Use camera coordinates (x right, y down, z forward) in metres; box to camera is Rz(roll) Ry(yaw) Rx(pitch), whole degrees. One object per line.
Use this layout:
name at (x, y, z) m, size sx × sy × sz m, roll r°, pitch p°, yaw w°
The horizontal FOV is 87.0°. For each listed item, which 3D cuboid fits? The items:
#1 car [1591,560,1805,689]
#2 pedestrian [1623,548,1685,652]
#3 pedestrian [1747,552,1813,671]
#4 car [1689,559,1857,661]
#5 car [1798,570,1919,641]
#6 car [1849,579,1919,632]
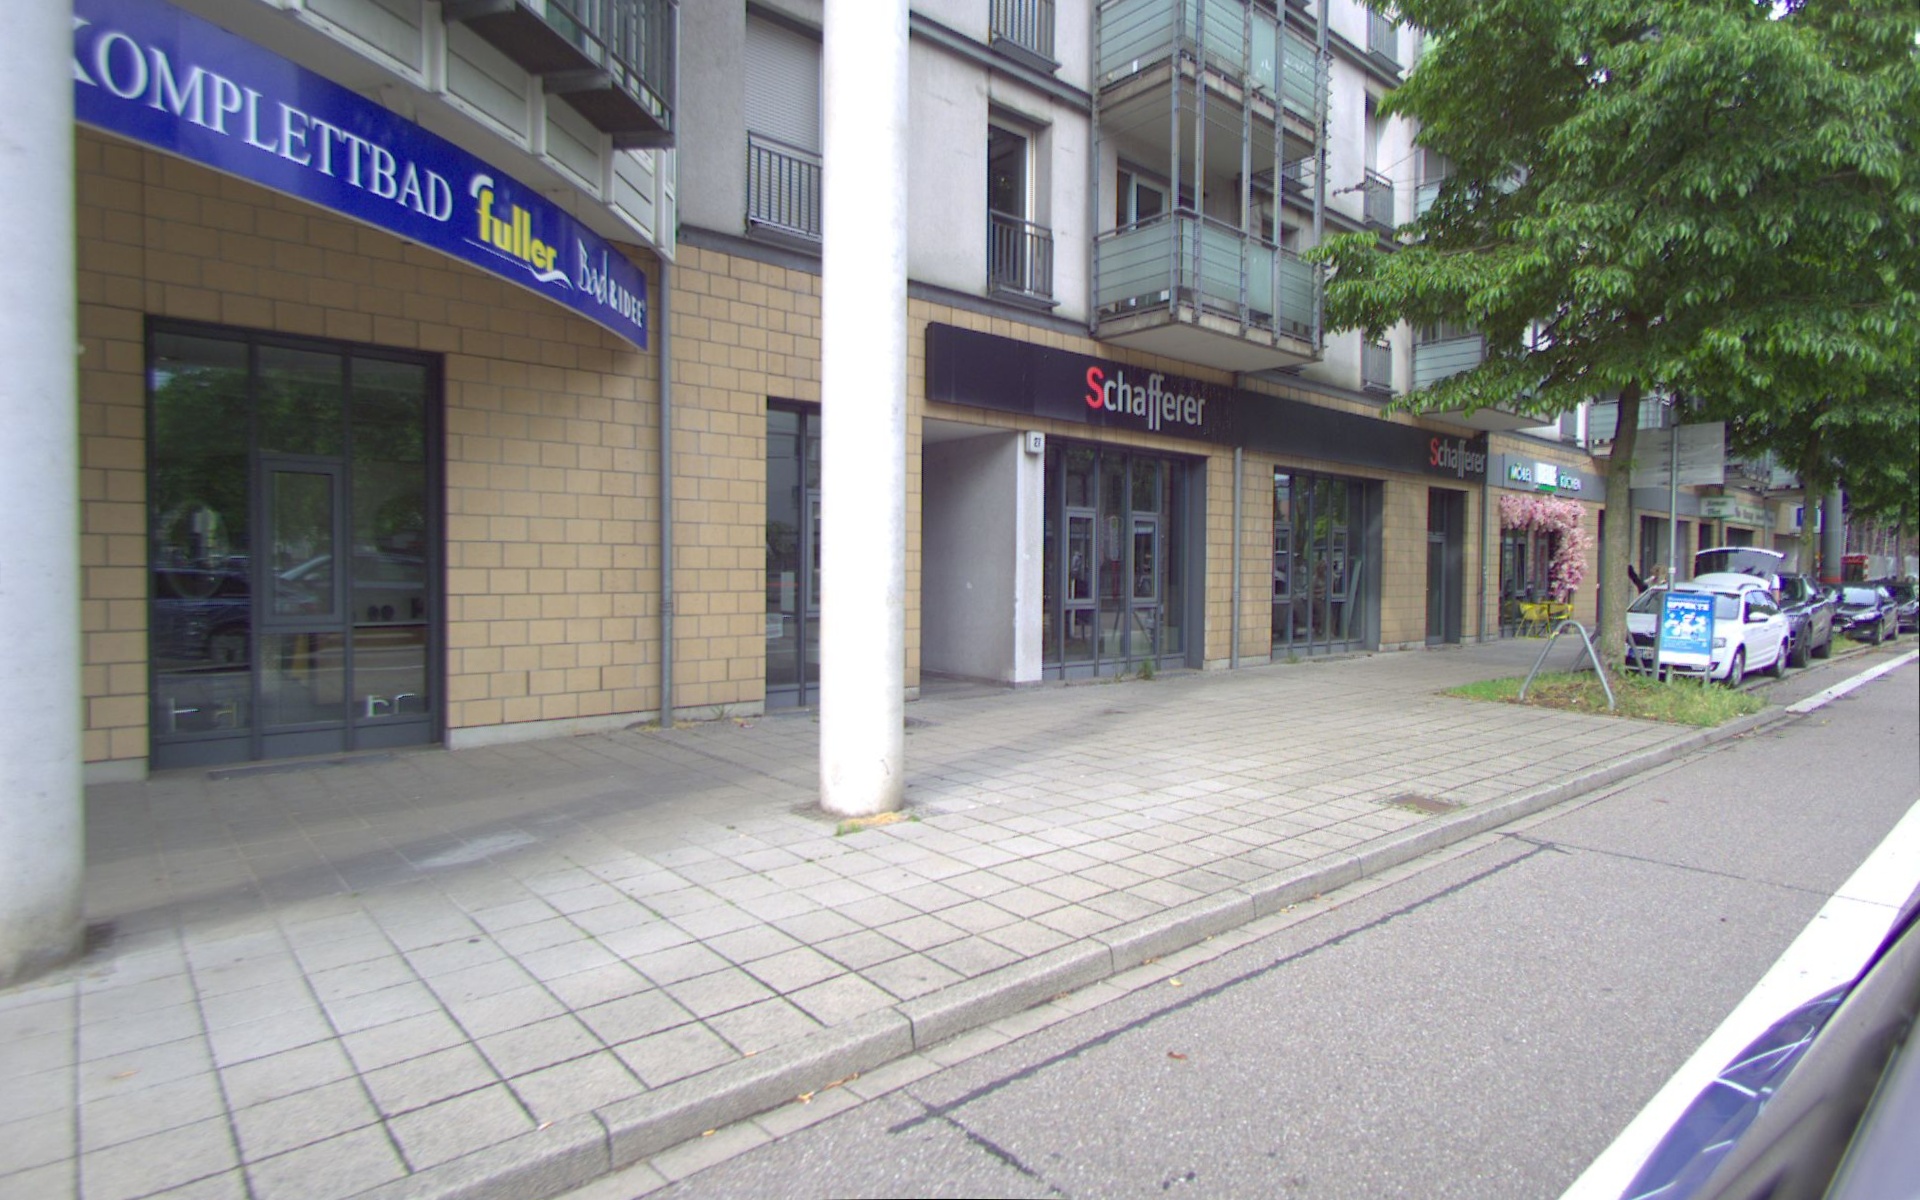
car at (11.477, 0.272, 15.644) m, size 4.032 × 1.681 × 1.730 m, roll -1°, pitch 4°, yaw -41°
pedestrian at (12.605, -0.011, 18.383) m, size 0.825 × 1.828 × 0.744 m, roll -1°, pitch 0°, yaw -41°
pedestrian at (13.826, 0.184, 17.066) m, size 0.630 × 1.958 × 0.655 m, roll -1°, pitch 0°, yaw -25°
car at (15.284, 0.108, 18.968) m, size 3.874 × 1.682 × 1.730 m, roll -1°, pitch 4°, yaw -41°
car at (22.109, 0.077, 24.853) m, size 3.874 × 1.563 × 1.684 m, roll -1°, pitch 4°, yaw -41°
car at (27.818, 0.119, 29.941) m, size 3.749 × 1.400 × 1.730 m, roll -1°, pitch 4°, yaw -41°
